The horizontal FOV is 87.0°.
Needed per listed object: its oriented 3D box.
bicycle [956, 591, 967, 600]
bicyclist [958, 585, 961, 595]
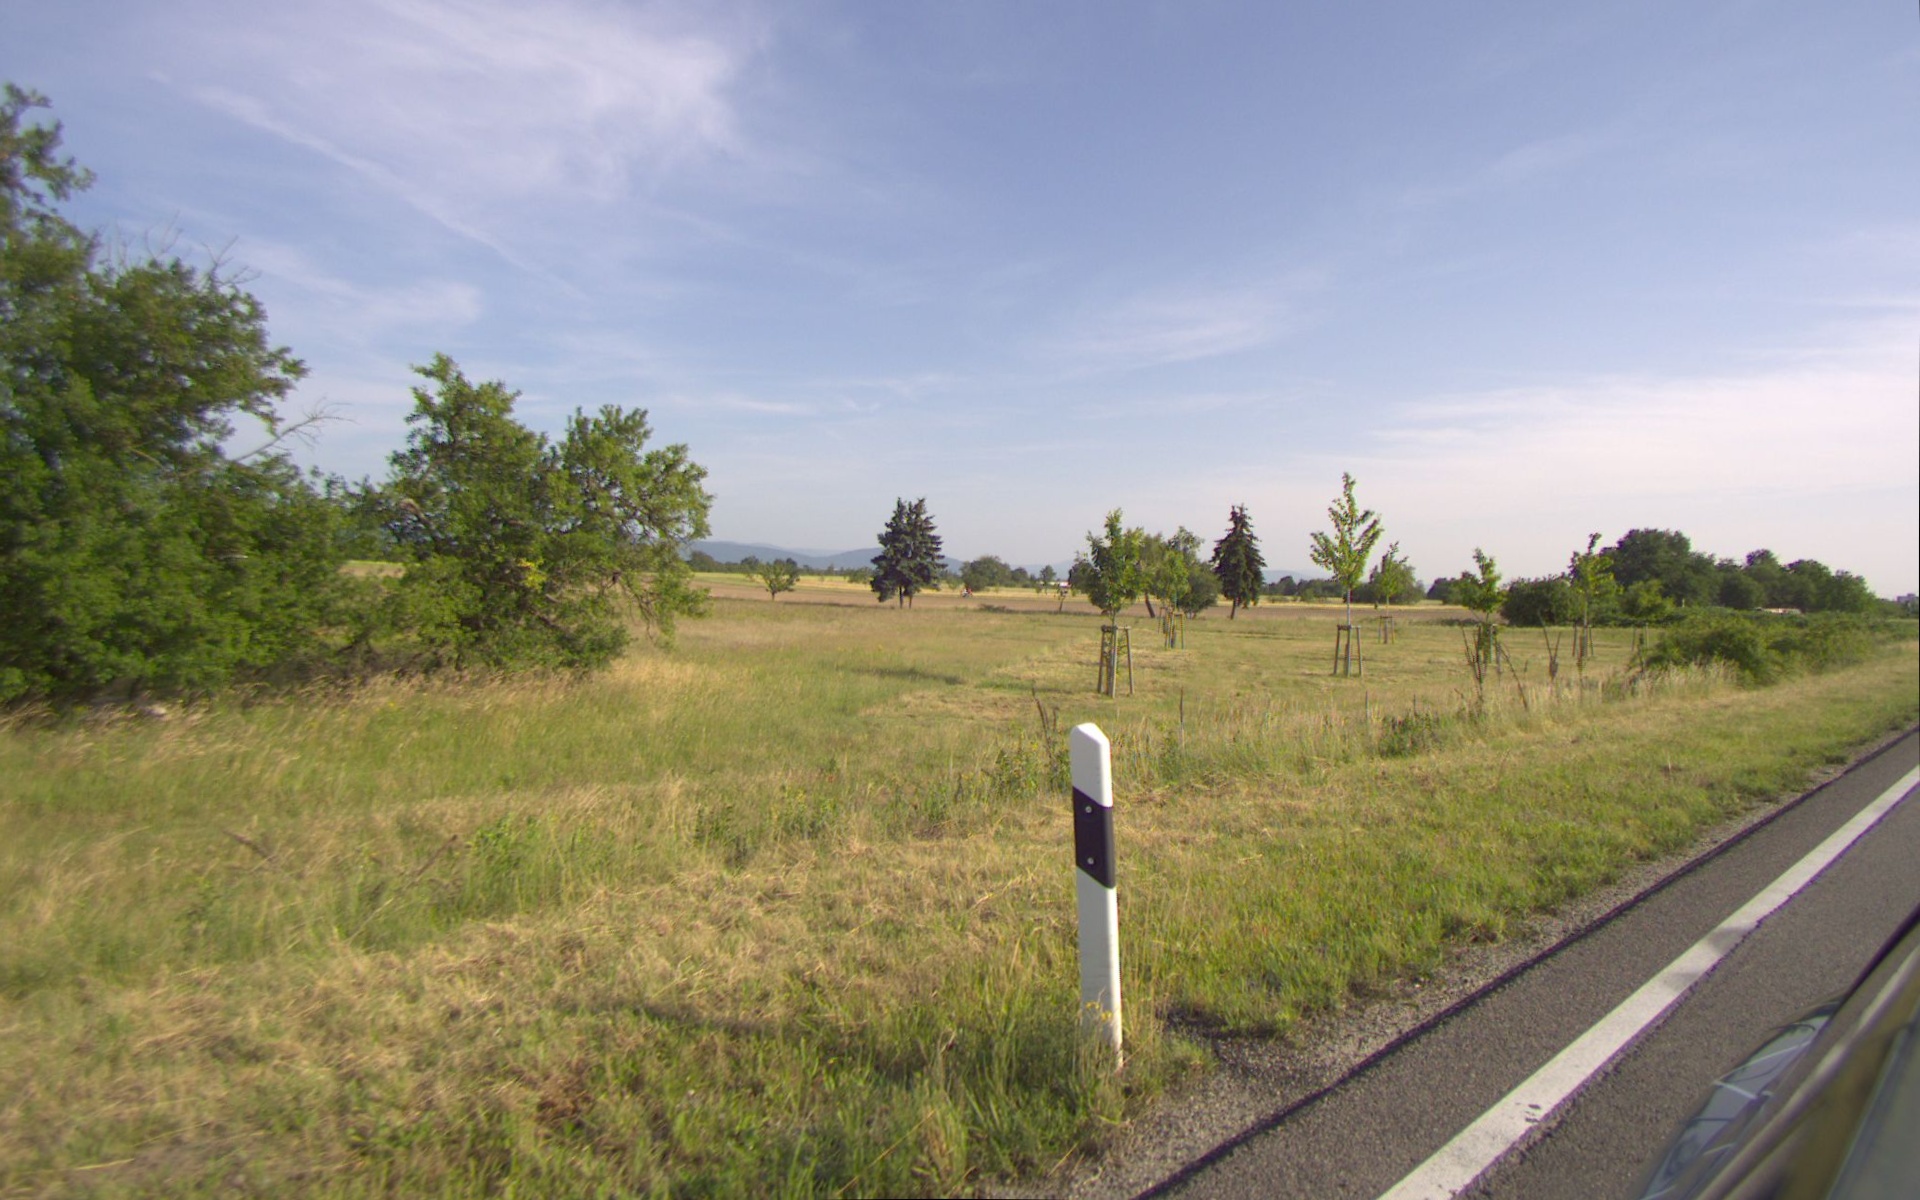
[{"bbox_3d":[0.233,-0.857,177.362,1.941,1.550,0.503,0,-1,3],"label":"bicycle"},{"bbox_3d":[-0.026,-1.755,177.401,0.540,1.617,0.487,0,-1,2],"label":"bicyclist"}]
